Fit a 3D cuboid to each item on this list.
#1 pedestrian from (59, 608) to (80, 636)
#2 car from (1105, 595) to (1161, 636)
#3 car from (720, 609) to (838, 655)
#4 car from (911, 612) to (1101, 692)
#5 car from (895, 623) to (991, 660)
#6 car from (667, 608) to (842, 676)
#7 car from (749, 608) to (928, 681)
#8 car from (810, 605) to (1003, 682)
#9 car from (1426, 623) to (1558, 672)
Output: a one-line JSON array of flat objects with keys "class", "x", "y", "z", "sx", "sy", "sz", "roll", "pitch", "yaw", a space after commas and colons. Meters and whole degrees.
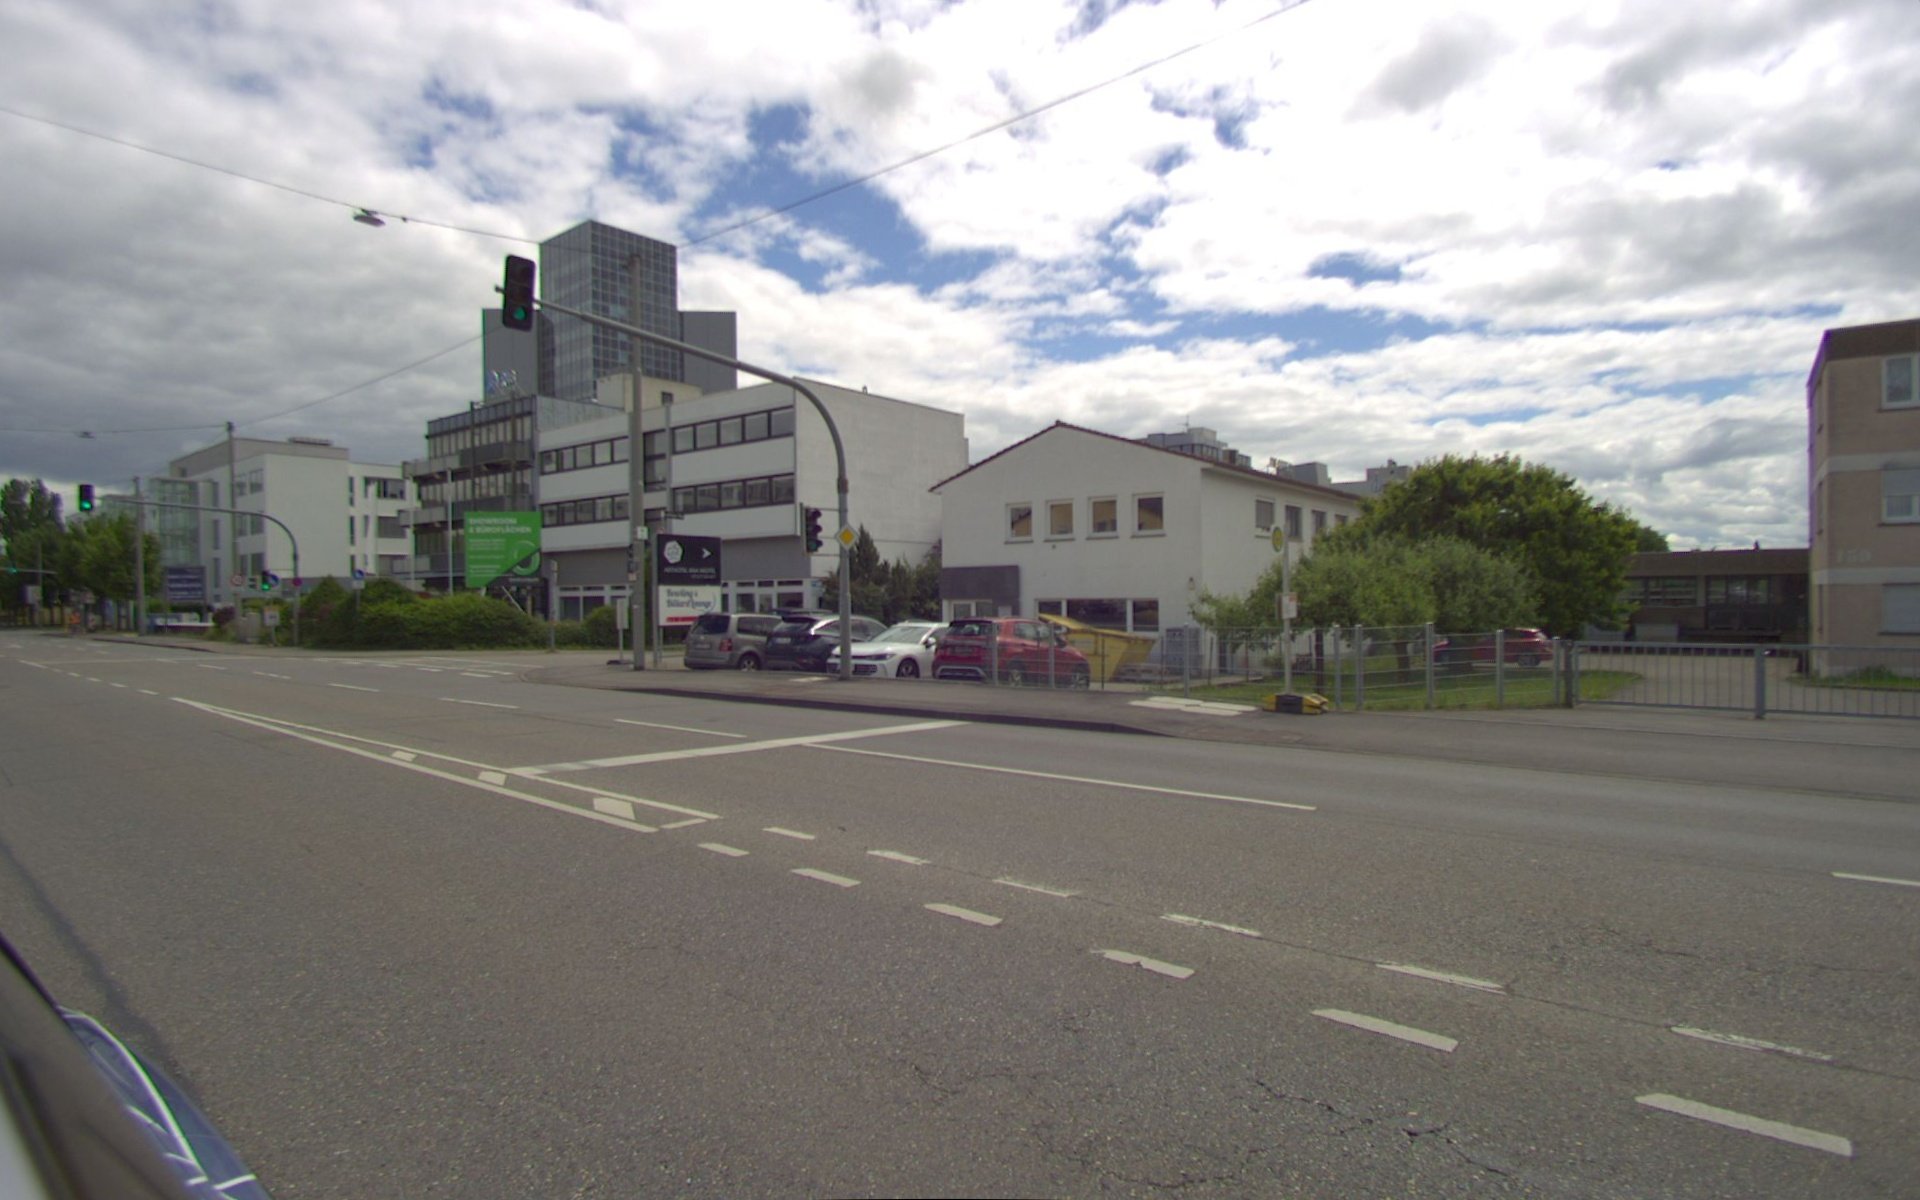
[{"class": "pedestrian", "x": -66.751, "y": 1.636, "z": 75.859, "sx": 0.715, "sy": 2.028, "sz": 0.812, "roll": -2, "pitch": 2, "yaw": -6}, {"class": "car", "x": 12.244, "y": 1.039, "z": 71.472, "sx": 2.102, "sy": 2.626, "sz": 4.357, "roll": 0, "pitch": 3, "yaw": 38}, {"class": "car", "x": -7.880, "y": 1.414, "z": 44.335, "sx": 2.171, "sy": 1.806, "sz": 4.701, "roll": 2, "pitch": -1, "yaw": 43}, {"class": "car", "x": 1.034, "y": 1.110, "z": 20.720, "sx": 1.847, "sy": 1.380, "sz": 3.947, "roll": 0, "pitch": -5, "yaw": 39}, {"class": "car", "x": -0.669, "y": 1.710, "z": 41.517, "sx": 1.810, "sy": 1.431, "sz": 3.885, "roll": -3, "pitch": -4, "yaw": 41}, {"class": "car", "x": -4.978, "y": 1.097, "z": 25.053, "sx": 1.903, "sy": 1.409, "sz": 4.058, "roll": -2, "pitch": -6, "yaw": 34}, {"class": "car", "x": -2.770, "y": 1.082, "z": 23.852, "sx": 1.853, "sy": 1.435, "sz": 3.947, "roll": 0, "pitch": -5, "yaw": 39}, {"class": "car", "x": -1.054, "y": 0.991, "z": 22.118, "sx": 1.980, "sy": 1.398, "sz": 4.185, "roll": 0, "pitch": -5, "yaw": 36}, {"class": "car", "x": 19.724, "y": 1.729, "z": 37.559, "sx": 4.165, "sy": 1.554, "sz": 1.828, "roll": 0, "pitch": 2, "yaw": 35}]
